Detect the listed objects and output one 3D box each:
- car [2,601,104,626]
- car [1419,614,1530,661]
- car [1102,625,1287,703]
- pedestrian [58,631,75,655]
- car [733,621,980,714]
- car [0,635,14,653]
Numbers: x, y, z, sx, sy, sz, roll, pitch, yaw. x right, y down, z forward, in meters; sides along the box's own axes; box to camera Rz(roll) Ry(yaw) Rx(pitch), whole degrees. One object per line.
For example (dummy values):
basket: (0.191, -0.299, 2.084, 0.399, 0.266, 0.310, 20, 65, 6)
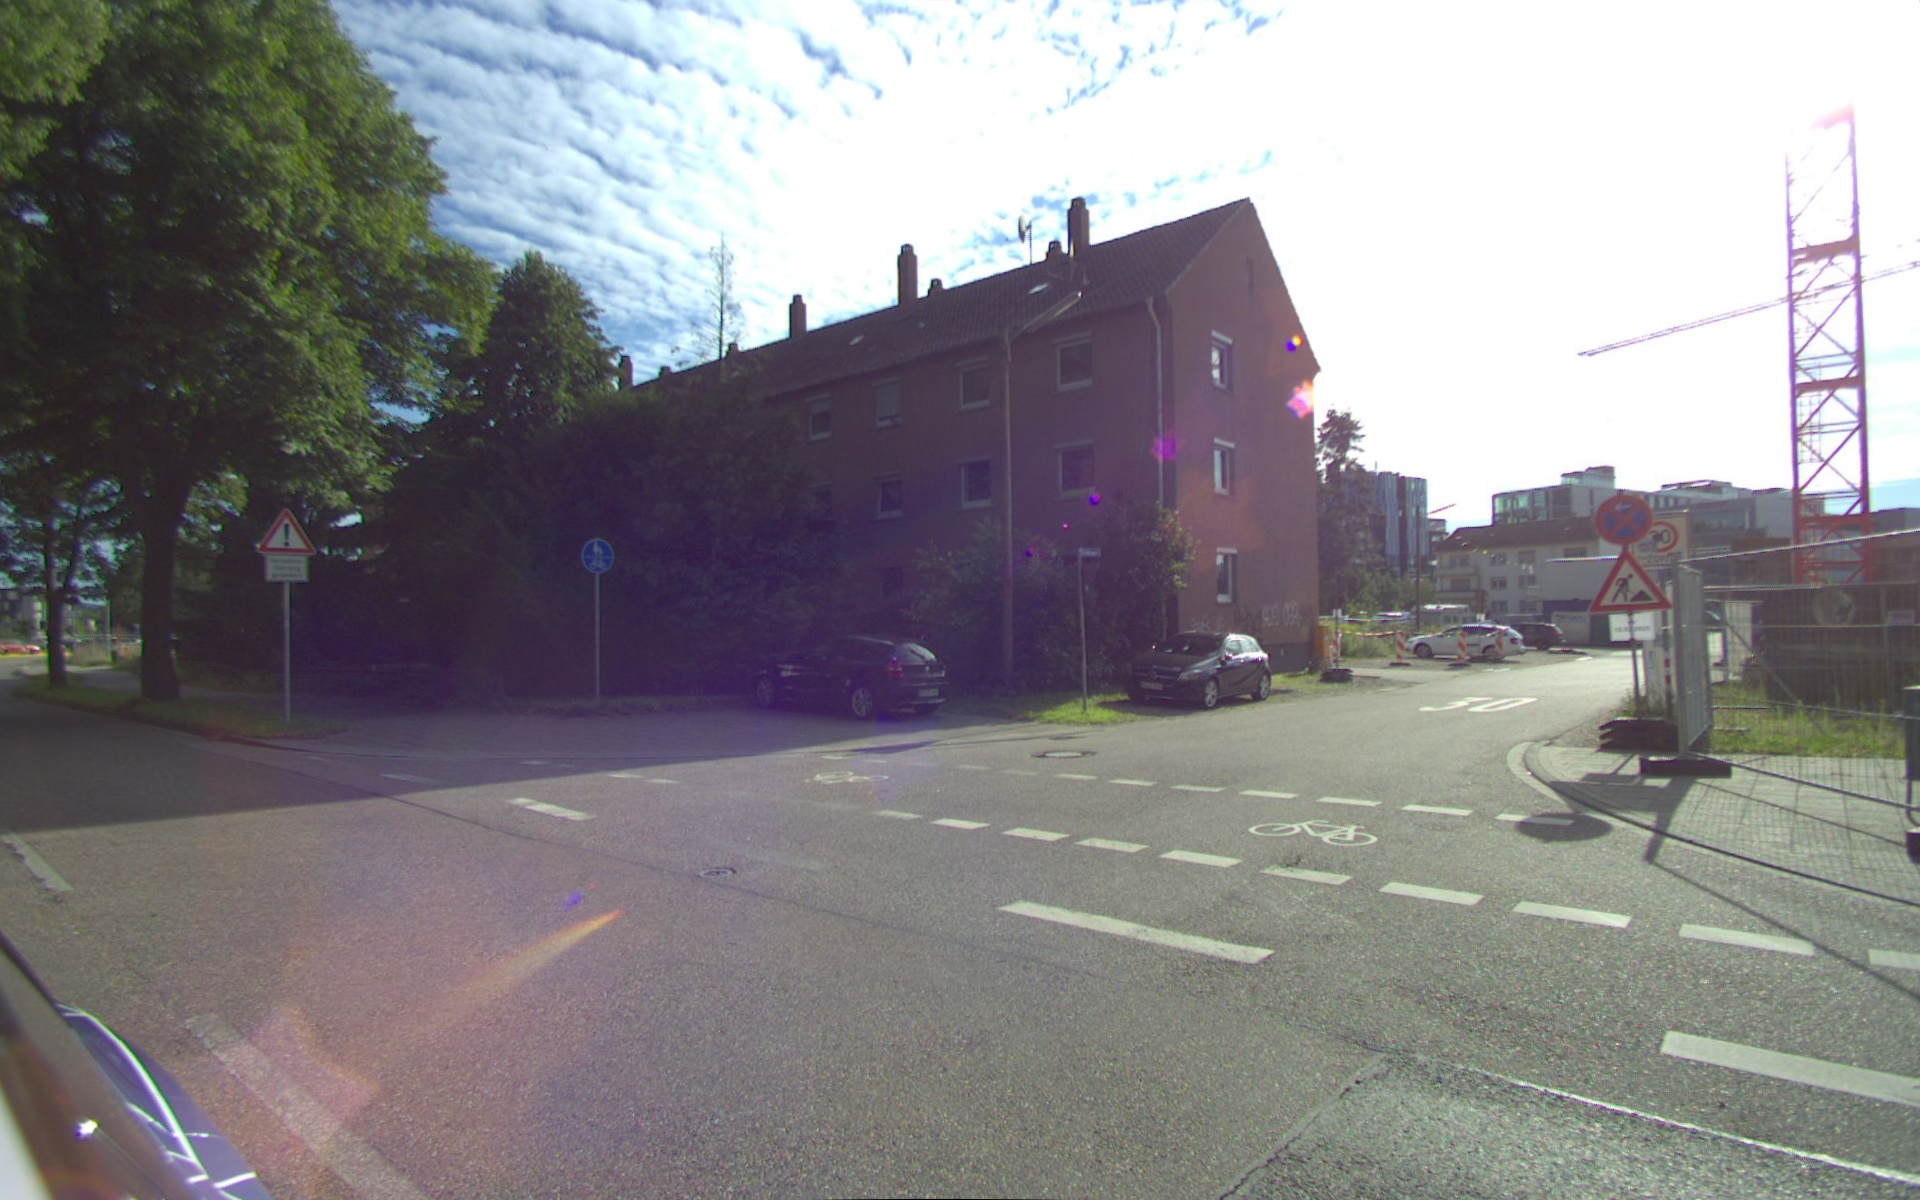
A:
car: (-75.125, 1.087, 83.890, 6.160, 1.881, 2.479, -1, 0, -3)
car: (21.812, 1.564, 42.943, 3.976, 1.821, 1.796, 0, 1, 36)
car: (4.934, 1.241, 21.002, 2.001, 1.314, 3.943, 4, 2, 43)
pedestrian: (-69.708, 3.328, 78.922, 0.739, 1.838, 0.705, -2, 0, 20)
car: (-1.967, 1.117, 18.329, 4.508, 1.439, 1.972, 0, -1, 43)
car: (-89.978, 4.100, 92.340, 2.294, 1.535, 4.825, -1, 0, 27)
